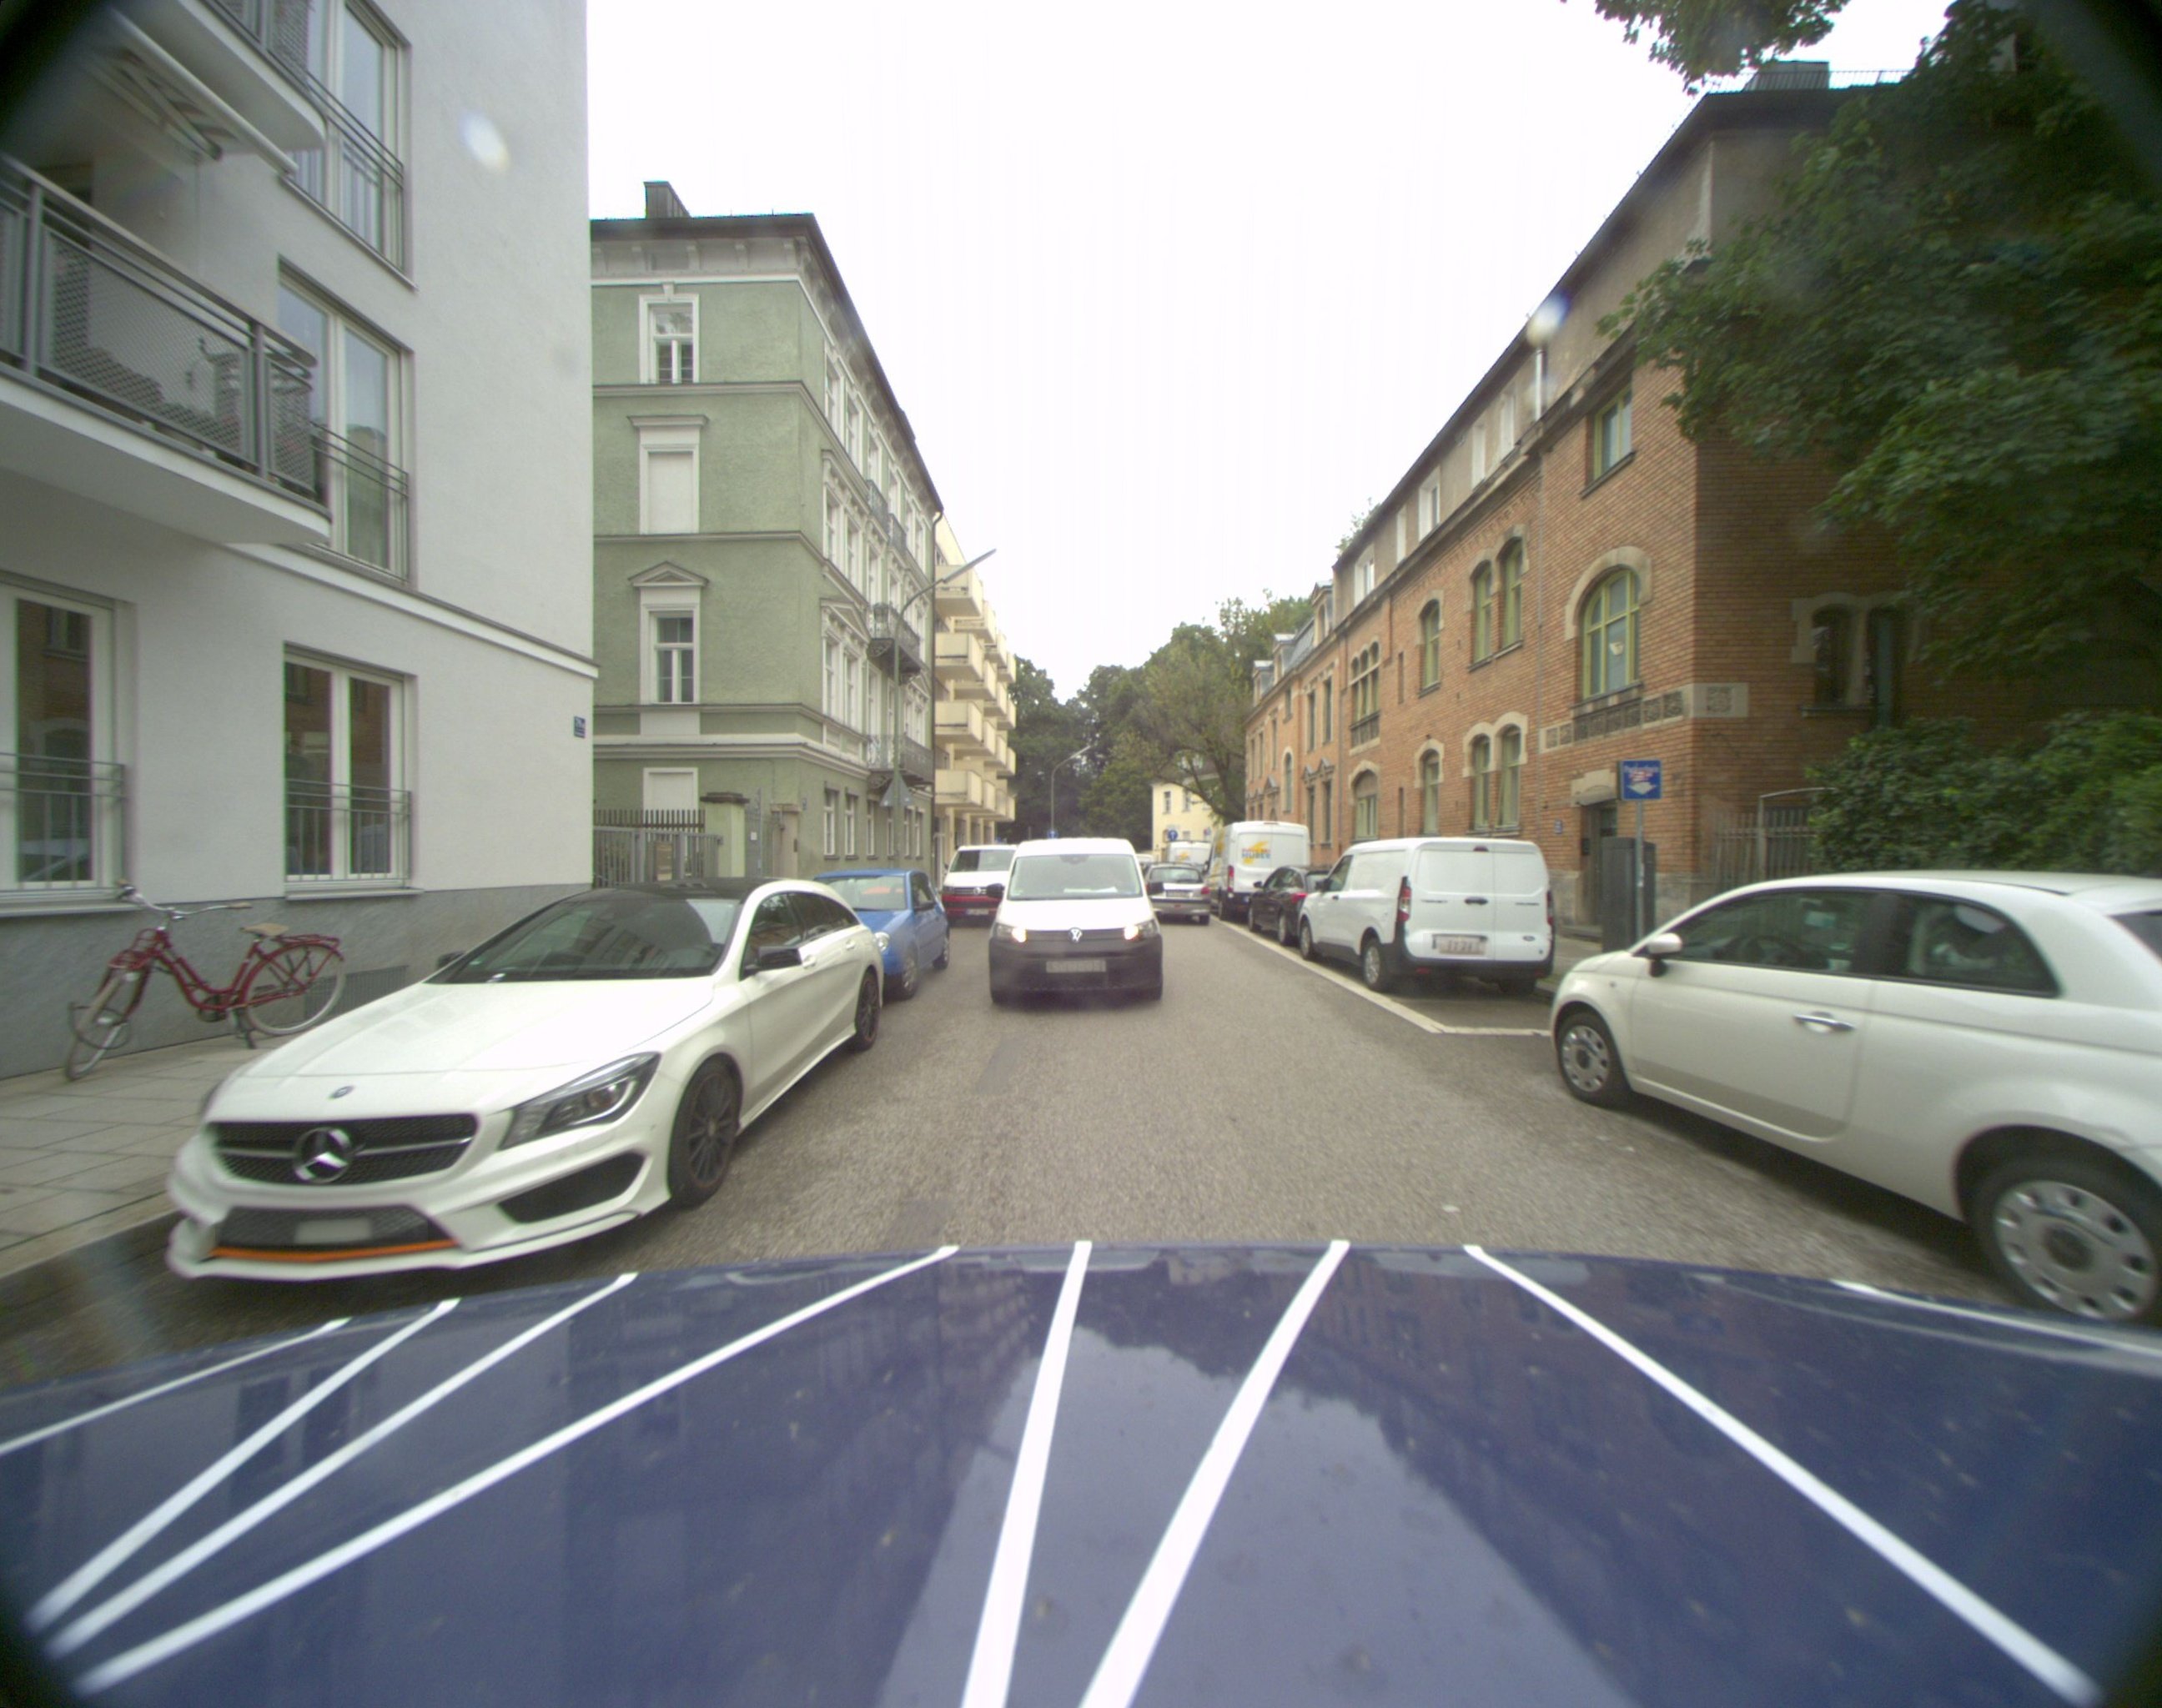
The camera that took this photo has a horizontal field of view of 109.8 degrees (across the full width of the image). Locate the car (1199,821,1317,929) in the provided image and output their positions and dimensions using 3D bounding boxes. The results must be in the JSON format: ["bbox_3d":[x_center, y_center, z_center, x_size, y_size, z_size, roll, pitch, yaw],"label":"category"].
[{"bbox_3d":[4.527,0.492,20.312,1.986,2.463,5.223,2,0,2],"label":"car"}]

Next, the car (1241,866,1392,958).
[{"bbox_3d":[4.361,0.996,14.724,1.694,1.434,4.146,2,0,1],"label":"car"}]

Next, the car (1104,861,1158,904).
[{"bbox_3d":[2.140,1.208,33.908,1.776,1.793,4.570,1,0,-4],"label":"car"}]

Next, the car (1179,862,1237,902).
[{"bbox_3d":[5.019,1.086,30.487,1.694,1.434,3.984,2,0,1],"label":"car"}]

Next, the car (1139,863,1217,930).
[{"bbox_3d":[2.277,0.963,18.675,1.585,1.403,3.613,0,1,2],"label":"car"}]

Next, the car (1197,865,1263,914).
[{"bbox_3d":[4.879,1.131,25.220,1.526,1.434,3.541,2,0,1],"label":"car"}]

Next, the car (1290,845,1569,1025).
[{"bbox_3d":[4.141,0.838,9.856,1.694,1.793,4.145,2,0,0],"label":"car"}]

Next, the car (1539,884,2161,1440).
[{"bbox_3d":[3.809,0.947,3.410,1.477,1.458,3.313,1,0,0],"label":"car"}]

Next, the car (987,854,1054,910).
[{"bbox_3d":[-2.050,0.931,26.863,1.832,1.747,4.554,-2,-1,2],"label":"car"}]

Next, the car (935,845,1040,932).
[{"bbox_3d":[-2.237,0.796,19.436,1.858,1.885,4.593,-2,0,3],"label":"car"}]

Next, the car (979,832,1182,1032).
[{"bbox_3d":[0.088,0.702,8.846,1.776,1.761,4.001,-2,0,3],"label":"car"}]

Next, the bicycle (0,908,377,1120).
[{"bbox_3d":[-6.053,0.975,5.220,0.679,1.022,1.834,0,2,1],"label":"bicycle"}]

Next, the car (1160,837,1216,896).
[{"bbox_3d":[5.055,0.590,36.400,2.118,2.525,4.422,3,-1,2],"label":"car"}]

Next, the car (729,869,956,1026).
[{"bbox_3d":[-2.655,0.966,9.309,1.623,1.404,3.553,-2,0,0],"label":"car"}]

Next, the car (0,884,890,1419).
[{"bbox_3d":[-2.513,1.005,4.453,1.662,1.431,4.206,-2,0,0],"label":"car"}]
